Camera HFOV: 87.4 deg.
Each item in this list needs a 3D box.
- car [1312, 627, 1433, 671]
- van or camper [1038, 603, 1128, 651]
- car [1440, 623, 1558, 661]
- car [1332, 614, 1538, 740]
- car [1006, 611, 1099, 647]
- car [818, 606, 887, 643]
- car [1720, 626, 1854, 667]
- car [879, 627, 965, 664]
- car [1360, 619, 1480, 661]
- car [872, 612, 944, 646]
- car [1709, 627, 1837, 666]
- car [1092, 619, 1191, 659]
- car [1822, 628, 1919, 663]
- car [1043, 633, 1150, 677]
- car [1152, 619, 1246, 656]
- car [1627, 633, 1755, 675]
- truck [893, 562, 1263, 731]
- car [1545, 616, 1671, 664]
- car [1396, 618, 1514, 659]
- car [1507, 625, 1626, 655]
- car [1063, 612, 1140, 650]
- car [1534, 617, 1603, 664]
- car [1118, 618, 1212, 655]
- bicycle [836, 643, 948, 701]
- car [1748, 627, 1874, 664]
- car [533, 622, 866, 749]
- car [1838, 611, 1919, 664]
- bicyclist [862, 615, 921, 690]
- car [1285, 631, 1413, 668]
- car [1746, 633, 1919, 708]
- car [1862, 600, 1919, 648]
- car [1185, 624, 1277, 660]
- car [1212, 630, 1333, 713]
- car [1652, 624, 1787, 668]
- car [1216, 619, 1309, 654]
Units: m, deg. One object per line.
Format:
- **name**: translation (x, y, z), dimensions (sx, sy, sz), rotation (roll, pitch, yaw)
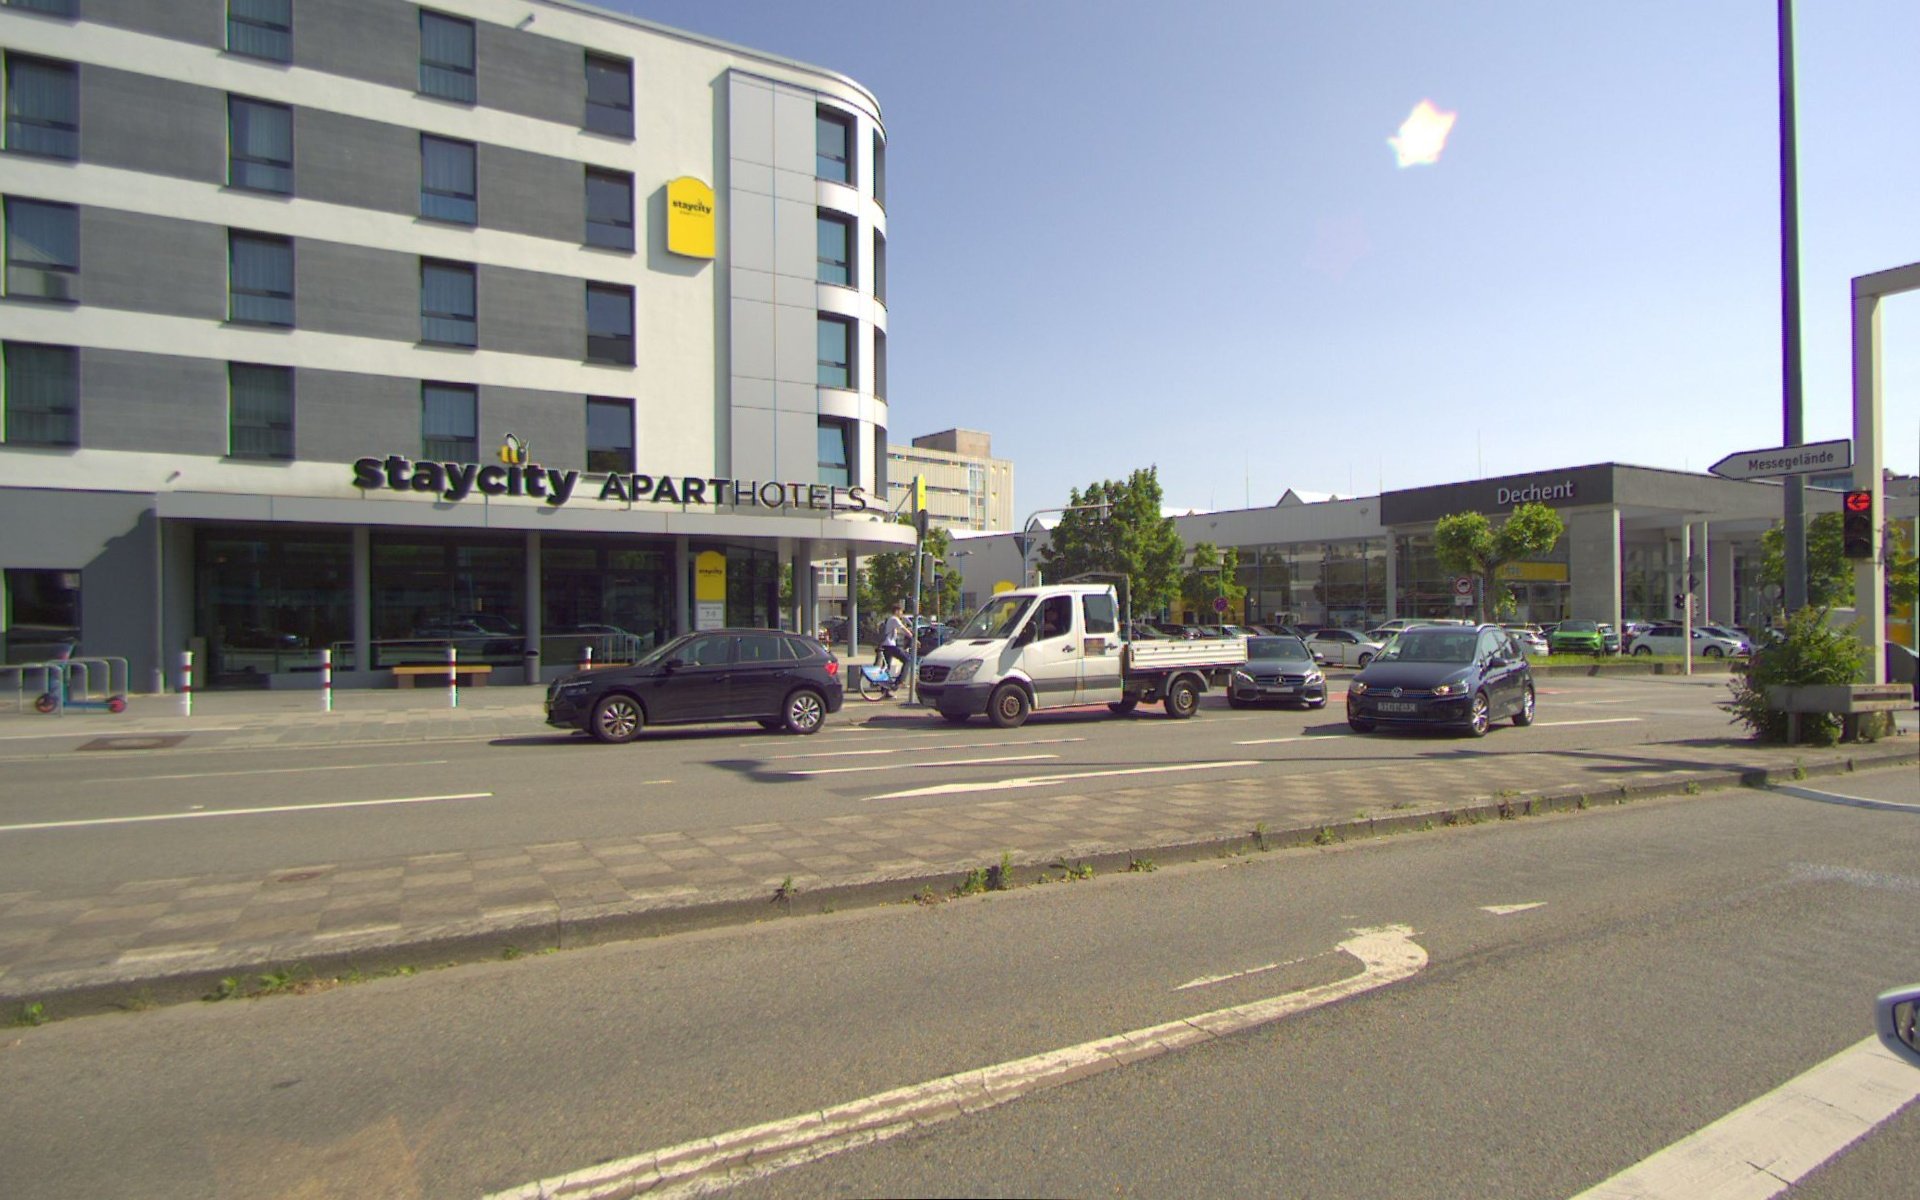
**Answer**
- **car**: translation (17.114, 1.998, 41.841), dimensions (1.980, 1.719, 4.328), rotation (1, -2, -35)
- **van or camper**: translation (6.439, 1.422, 52.967), dimensions (1.983, 2.432, 4.678), rotation (1, -2, -38)
- **car**: translation (24.560, 1.873, 45.883), dimensions (1.982, 1.612, 4.325), rotation (1, -2, -37)
- **car**: translation (7.325, 1.057, 15.276), dimensions (1.863, 1.639, 4.115), rotation (0, -2, 40)
- **car**: translation (4.621, 1.449, 50.309), dimensions (4.304, 1.719, 1.991), rotation (-1, -2, 39)
- **car**: translation (-6.843, 1.511, 63.509), dimensions (1.985, 2.158, 4.565), rotation (2, 0, -42)
- **car**: translation (37.447, 2.079, 45.599), dimensions (1.978, 1.719, 4.333), rotation (1, -1, -32)
- **car**: translation (-1.780, 2.038, 45.643), dimensions (1.979, 1.466, 4.331), rotation (2, -1, -33)
- **car**: translation (19.813, 1.705, 43.374), dimensions (1.982, 1.719, 4.323), rotation (1, -2, -38)
- **car**: translation (-3.140, 1.711, 59.812), dimensions (1.971, 1.815, 4.376), rotation (2, 0, -42)
- **car**: translation (38.677, 2.166, 47.892), dimensions (1.978, 1.719, 4.333), rotation (1, -2, -32)
- **car**: translation (8.280, 1.757, 46.129), dimensions (1.980, 1.719, 4.328), rotation (1, -2, -35)
- **car**: translation (47.025, 2.291, 51.132), dimensions (1.973, 1.719, 4.345), rotation (1, -1, -24)
- **car**: translation (4.926, 1.973, 36.628), dimensions (1.759, 1.457, 3.880), rotation (1, -2, -33)
- **car**: translation (11.727, 1.815, 49.596), dimensions (1.980, 1.719, 4.328), rotation (1, -2, -35)
- **car**: translation (30.581, 2.204, 42.096), dimensions (1.981, 1.620, 3.959), rotation (1, -2, -36)
- **truck**: translation (2.166, 0.828, 17.877), dimensions (6.355, 2.578, 2.349), rotation (1, -3, -28)
- **car**: translation (26.406, 1.608, 41.037), dimensions (1.978, 1.862, 3.849), rotation (1, -2, -32)
- **car**: translation (22.077, 1.695, 44.916), dimensions (1.982, 1.719, 4.323), rotation (1, -2, -38)
- **car**: translation (27.875, 1.837, 46.270), dimensions (1.982, 1.284, 4.325), rotation (4, -4, -37)
- **car**: translation (7.764, 1.698, 55.306), dimensions (1.983, 2.040, 3.956), rotation (1, -2, -38)
- **car**: translation (24.002, 1.610, 39.722), dimensions (1.870, 1.756, 3.293), rotation (0, -3, 23)
- **car**: translation (9.820, 1.738, 48.424), dimensions (1.980, 1.719, 4.328), rotation (1, -2, -35)
- **bicycle**: translation (-1.375, 1.436, 20.346), dimensions (2.130, 1.131, 0.766), rotation (1, -1, -22)
- **car**: translation (41.586, 2.185, 49.186), dimensions (1.978, 1.719, 4.333), rotation (1, -2, -32)
- **car**: translation (-3.772, 1.180, 14.694), dimensions (4.360, 1.598, 1.985), rotation (1, -4, -30)
- **car**: translation (49.095, 1.936, 52.398), dimensions (2.096, 2.720, 4.490), rotation (1, -1, -21)
- **bicyclist**: translation (-1.386, 1.056, 20.363), dimensions (1.012, 1.479, 0.766), rotation (1, -1, -21)
- **car**: translation (15.086, 1.876, 39.124), dimensions (1.980, 1.317, 4.328), rotation (1, -2, -35)
- **car**: translation (19.176, 1.439, 21.079), dimensions (1.985, 1.461, 3.952), rotation (2, -2, -41)
- **car**: translation (53.245, 1.352, 55.761), dimensions (1.973, 2.635, 4.345), rotation (1, -1, -24)
- **car**: translation (13.804, 2.123, 51.441), dimensions (1.980, 1.719, 4.328), rotation (1, -2, -35)
- **car**: translation (6.516, 1.431, 21.347), dimensions (1.866, 1.378, 4.002), rotation (3, 1, 10)
- **car**: translation (32.798, 1.932, 43.512), dimensions (1.978, 1.789, 4.274), rotation (1, -2, -32)
- **car**: translation (15.820, 1.884, 52.697), dimensions (1.982, 1.719, 4.324), rotation (1, -2, -37)
